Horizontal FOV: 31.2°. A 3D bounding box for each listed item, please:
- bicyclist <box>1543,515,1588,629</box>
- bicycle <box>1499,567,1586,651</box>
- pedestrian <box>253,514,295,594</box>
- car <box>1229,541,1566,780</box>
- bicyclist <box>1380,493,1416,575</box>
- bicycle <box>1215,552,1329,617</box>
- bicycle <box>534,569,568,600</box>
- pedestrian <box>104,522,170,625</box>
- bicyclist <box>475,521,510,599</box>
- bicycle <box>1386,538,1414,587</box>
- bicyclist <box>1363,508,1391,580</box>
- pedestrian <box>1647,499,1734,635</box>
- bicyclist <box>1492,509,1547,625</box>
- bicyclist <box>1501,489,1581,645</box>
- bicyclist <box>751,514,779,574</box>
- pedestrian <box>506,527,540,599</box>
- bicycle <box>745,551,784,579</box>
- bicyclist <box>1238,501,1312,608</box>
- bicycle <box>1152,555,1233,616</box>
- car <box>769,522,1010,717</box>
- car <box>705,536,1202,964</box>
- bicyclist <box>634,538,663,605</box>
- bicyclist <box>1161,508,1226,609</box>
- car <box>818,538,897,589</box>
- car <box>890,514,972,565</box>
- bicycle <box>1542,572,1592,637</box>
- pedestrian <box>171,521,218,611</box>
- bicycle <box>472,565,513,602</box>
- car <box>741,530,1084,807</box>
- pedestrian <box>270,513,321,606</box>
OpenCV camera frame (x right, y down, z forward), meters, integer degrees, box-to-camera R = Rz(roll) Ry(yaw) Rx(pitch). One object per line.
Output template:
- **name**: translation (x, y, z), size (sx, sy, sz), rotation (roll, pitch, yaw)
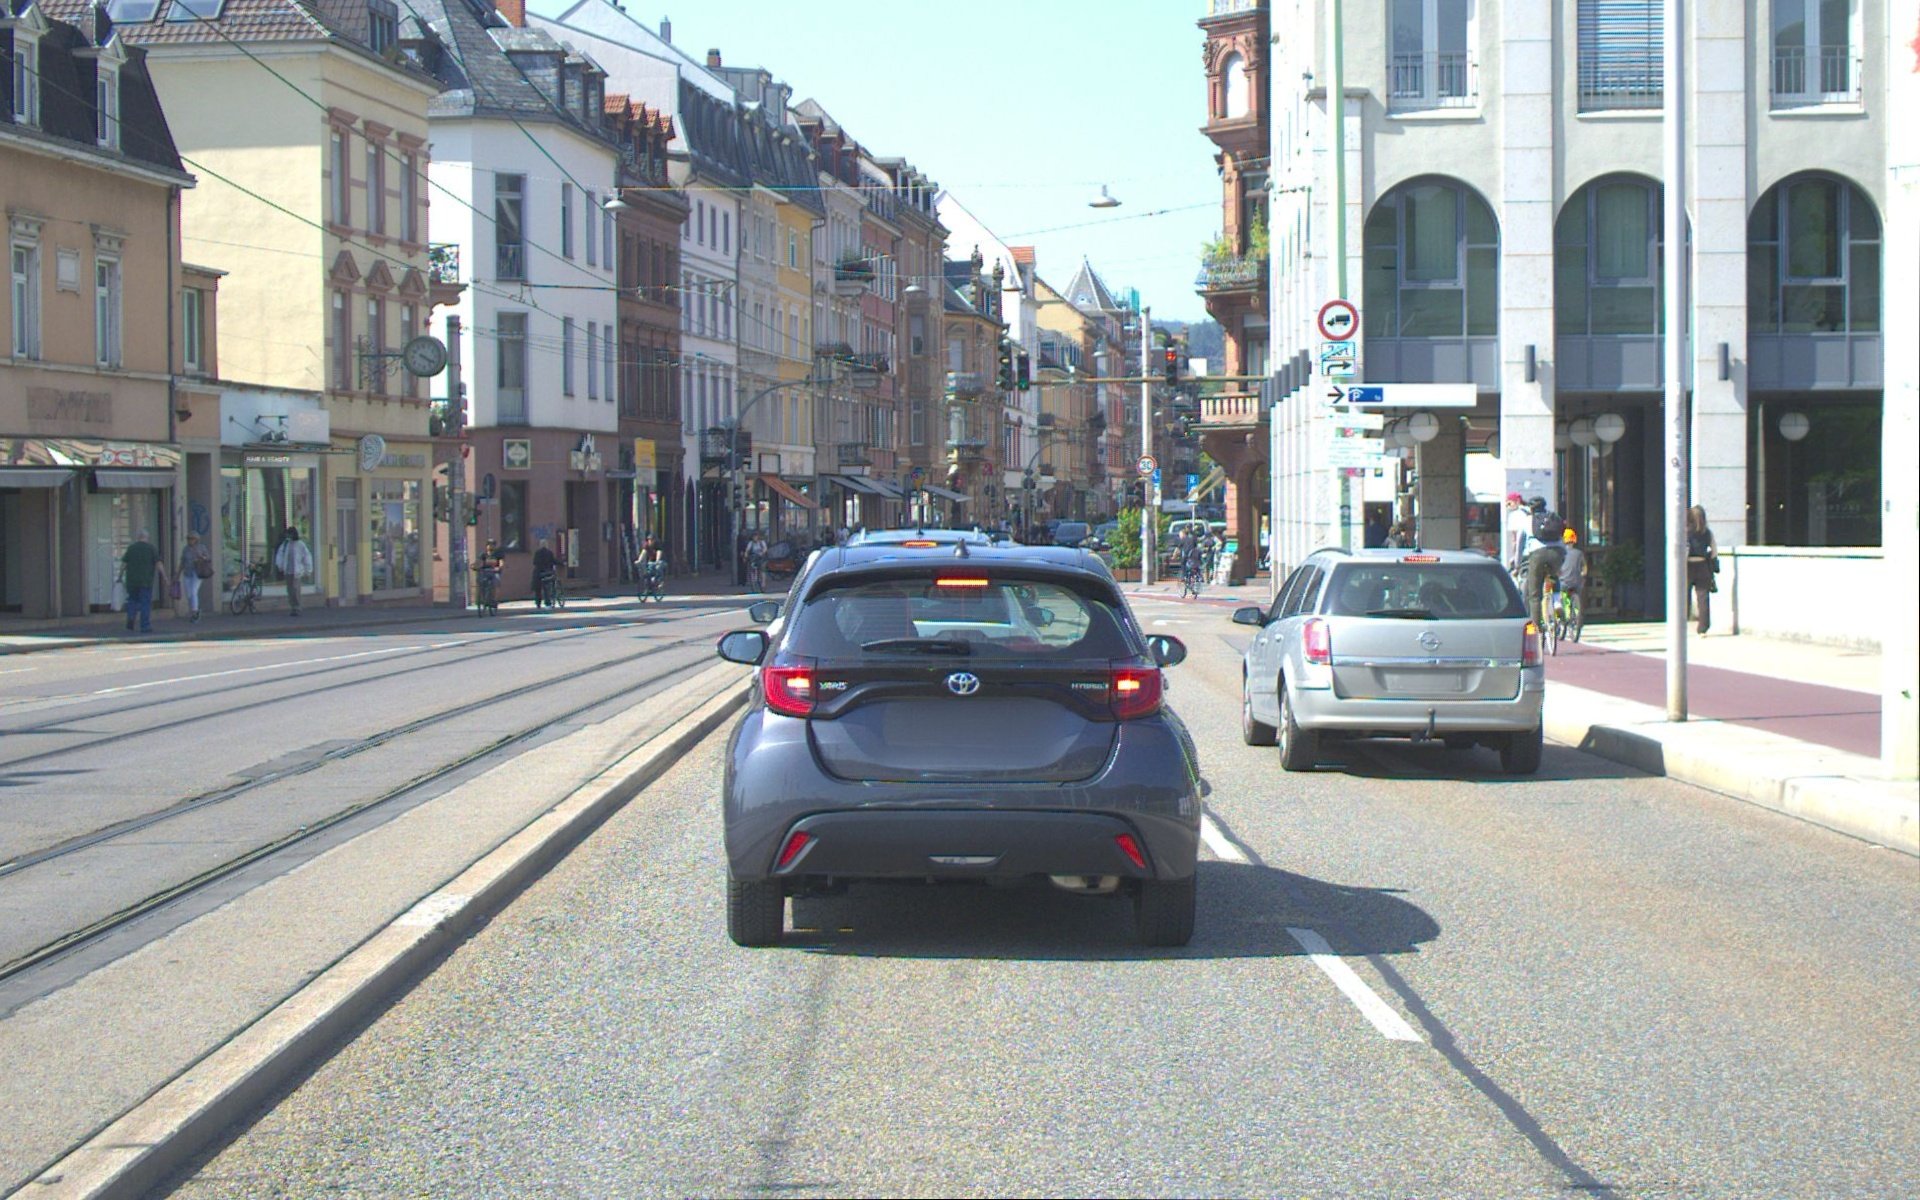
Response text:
- **bicyclist**: translation (7.458, -0.344, 42.351), size (0.422, 1.378, 0.443), rotation (-2, 1, 0)
- **bicycle**: translation (6.434, 0.094, 38.037), size (0.704, 0.879, 1.525), rotation (-1, 1, 1)
- **pedestrian**: translation (-14.189, -0.960, 71.109), size (0.649, 1.596, 0.566), rotation (4, 3, 0)
- **car**: translation (2.911, 0.344, 23.707), size (1.705, 1.461, 4.326), rotation (1, 1, -1)
- **bicyclist**: translation (7.135, -1.069, 55.964), size (0.538, 1.312, 0.671), rotation (-2, 1, 7)
- **bicycle**: translation (7.677, -0.398, 84.742), size (1.112, 1.415, 3.007), rotation (3, 1, -32)
- **bicycle**: translation (-10.196, -0.388, 85.699), size (0.620, 0.713, 1.771), rotation (1, 2, 0)
- **pedestrian**: translation (-13.688, -0.439, 57.205), size (0.762, 1.648, 0.711), rotation (4, 1, 8)
- **bicyclist**: translation (-10.035, -0.870, 73.822), size (0.627, 1.644, 0.622), rotation (2, 2, 1)
- **bicycle**: translation (7.164, -0.620, 56.021), size (0.416, 0.763, 1.205), rotation (-2, 1, 7)
- **bicyclist**: translation (7.334, -0.992, 60.500), size (0.422, 1.252, 0.443), rotation (-2, 1, 3)
- **pedestrian**: translation (9.022, -0.411, 42.481), size (0.739, 1.609, 1.016), rotation (4, 1, -1)
- **bicyclist**: translation (7.187, -0.426, 44.155), size (0.484, 1.461, 0.443), rotation (-3, 1, -39)
- **bicyclist**: translation (6.420, -0.373, 38.012), size (0.701, 1.689, 0.924), rotation (-1, 1, 0)
- **bicyclist**: translation (-5.417, -1.563, 95.610), size (0.627, 1.644, 0.621), rotation (2, 2, 9)
- **pedestrian**: translation (-10.900, -0.926, 85.842), size (0.736, 1.760, 0.787), rotation (0, 2, 0)
- **bicycle**: translation (-5.431, -0.970, 95.599), size (0.620, 0.713, 2.044), rotation (2, 2, 9)
- **bicyclist**: translation (7.749, -1.129, 84.645), size (1.228, 2.520, 1.105), rotation (3, 1, -33)
- **bicycle**: translation (6.008, -0.393, 89.066), size (1.111, 1.415, 3.008), rotation (4, 1, -14)
- **car**: translation (-0.579, 0.115, 29.428), size (1.897, 1.525, 4.000), rotation (1, 1, -1)
- **car**: translation (-0.040, 0.495, 13.896), size (1.720, 1.468, 3.658), rotation (1, 1, -1)
- **bicyclist**: translation (-7.886, -0.724, 87.064), size (0.627, 1.644, 0.622), rotation (2, 2, 1)
- **bicyclist**: translation (6.052, -1.083, 89.034), size (1.227, 2.520, 1.105), rotation (4, 1, -14)
- **car**: translation (-3.000, -1.095, 101.290), size (1.731, 1.455, 4.373), rotation (0, 1, 6)
- **car**: translation (-0.910, -1.959, 111.319), size (1.994, 1.581, 4.651), rotation (0, 1, 8)
- **bicycle**: translation (7.475, 0.051, 42.346), size (0.416, 0.763, 0.962), rotation (-2, 1, 0)
- **pedestrian**: translation (-14.120, -0.625, 63.399), size (0.649, 1.596, 0.566), rotation (4, 3, 0)
- **bicycle**: translation (-10.047, -0.359, 73.890), size (0.620, 0.713, 1.771), rotation (1, 2, 0)
- **car**: translation (-0.286, 0.347, 21.327), size (1.897, 1.525, 4.000), rotation (1, 1, -1)
- **pedestrian**: translation (-13.097, -0.801, 67.808), size (0.736, 1.760, 0.787), rotation (4, 1, 0)
